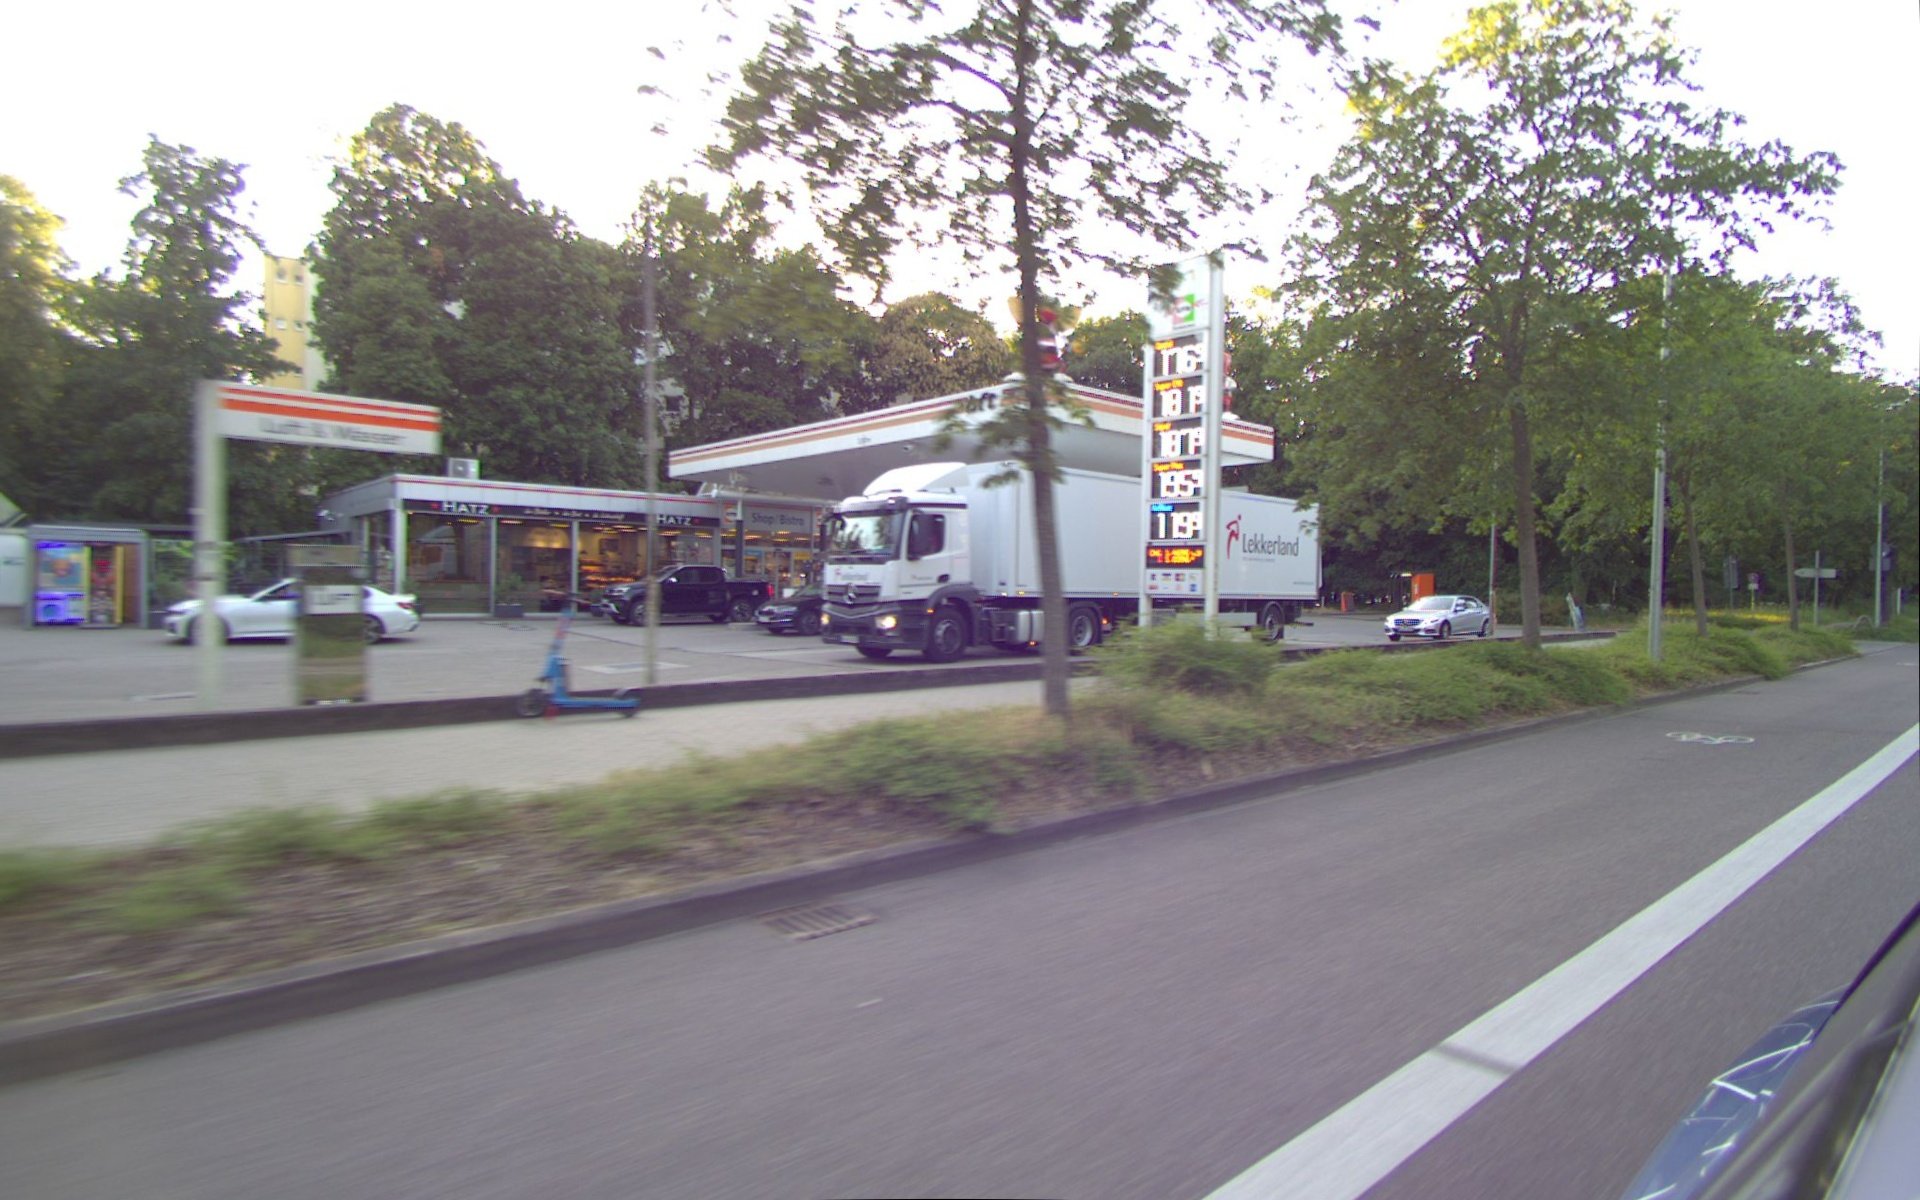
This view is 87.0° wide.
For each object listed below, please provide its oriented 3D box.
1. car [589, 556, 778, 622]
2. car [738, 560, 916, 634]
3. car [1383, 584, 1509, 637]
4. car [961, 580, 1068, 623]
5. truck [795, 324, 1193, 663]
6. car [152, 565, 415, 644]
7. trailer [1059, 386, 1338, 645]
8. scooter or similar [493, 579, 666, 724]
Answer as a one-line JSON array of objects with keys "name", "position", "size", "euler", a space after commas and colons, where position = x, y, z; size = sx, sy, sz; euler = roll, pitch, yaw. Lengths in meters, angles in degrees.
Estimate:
[{"name": "car", "position": [-8.572, -0.343, 31.674], "size": [5.404, 1.888, 1.952], "euler": [0, 1, -40]}, {"name": "car", "position": [-3.586, -0.160, 27.844], "size": [4.594, 1.888, 1.875], "euler": [-2, 3, -40]}, {"name": "car", "position": [15.921, 0.323, 33.039], "size": [4.730, 1.603, 1.774], "euler": [0, 0, -37]}, {"name": "car", "position": [2.224, 0.047, 41.248], "size": [4.074, 1.540, 1.666], "euler": [2, 2, 16]}, {"name": "truck", "position": [1.022, -1.758, 20.461], "size": [8.268, 5.524, 3.037], "euler": [0, 1, -43]}, {"name": "car", "position": [-14.616, 0.076, 22.175], "size": [4.605, 1.537, 1.794], "euler": [0, 3, -32]}, {"name": "trailer", "position": [6.204, -1.819, 25.377], "size": [7.802, 5.531, 3.023], "euler": [1, 0, -44]}, {"name": "scooter or similar", "position": [-3.668, 0.456, 9.801], "size": [1.443, 1.298, 0.599], "euler": [0, 1, -40]}]
